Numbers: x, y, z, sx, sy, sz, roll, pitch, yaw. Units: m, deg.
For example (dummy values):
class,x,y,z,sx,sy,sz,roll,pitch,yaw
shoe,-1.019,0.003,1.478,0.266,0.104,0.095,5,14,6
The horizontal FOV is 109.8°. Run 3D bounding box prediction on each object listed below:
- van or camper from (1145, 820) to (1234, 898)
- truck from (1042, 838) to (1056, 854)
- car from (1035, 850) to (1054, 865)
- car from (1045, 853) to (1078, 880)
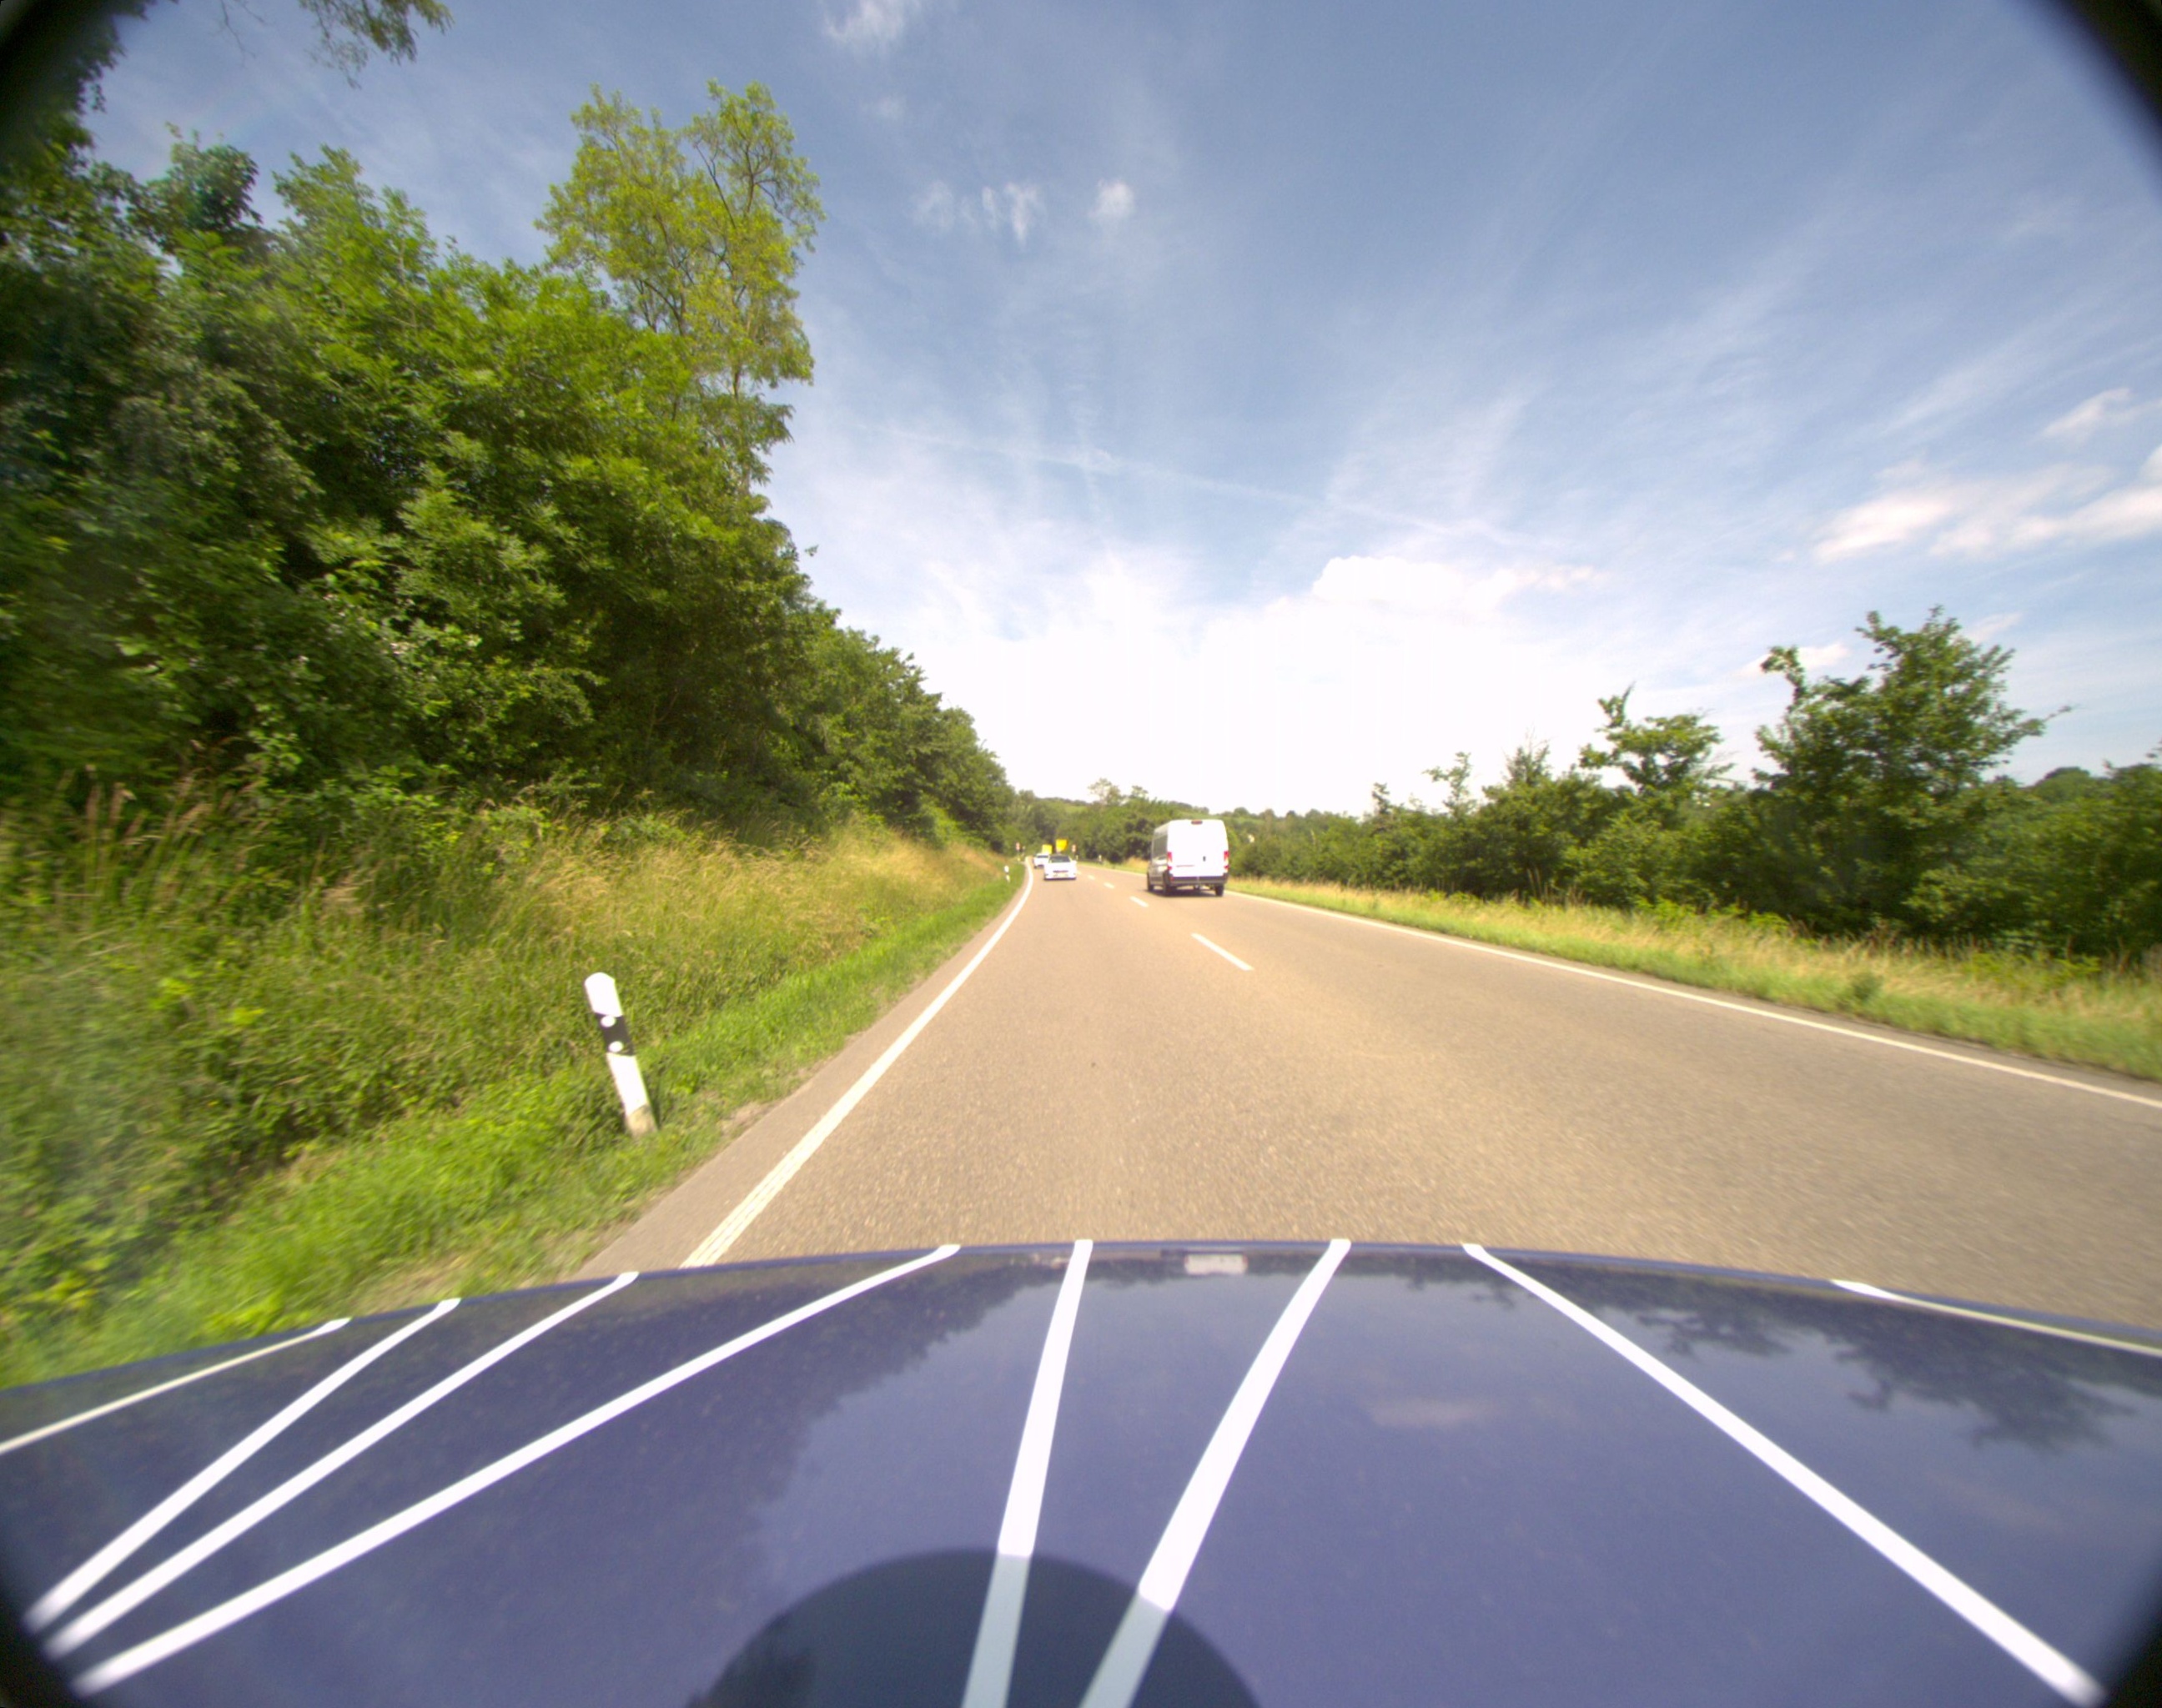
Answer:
class,x,y,z,sx,sy,sz,roll,pitch,yaw
van or camper,3.811,0.149,27.923,2.214,2.513,6.132,-1,1,-1
truck,-9.588,-2.358,225.426,3.340,4.503,8.572,2,0,-6
car,-3.704,0.361,78.024,1.866,1.480,3.999,-2,0,-2
car,-1.154,0.723,44.849,1.773,1.437,3.999,-2,0,-2
